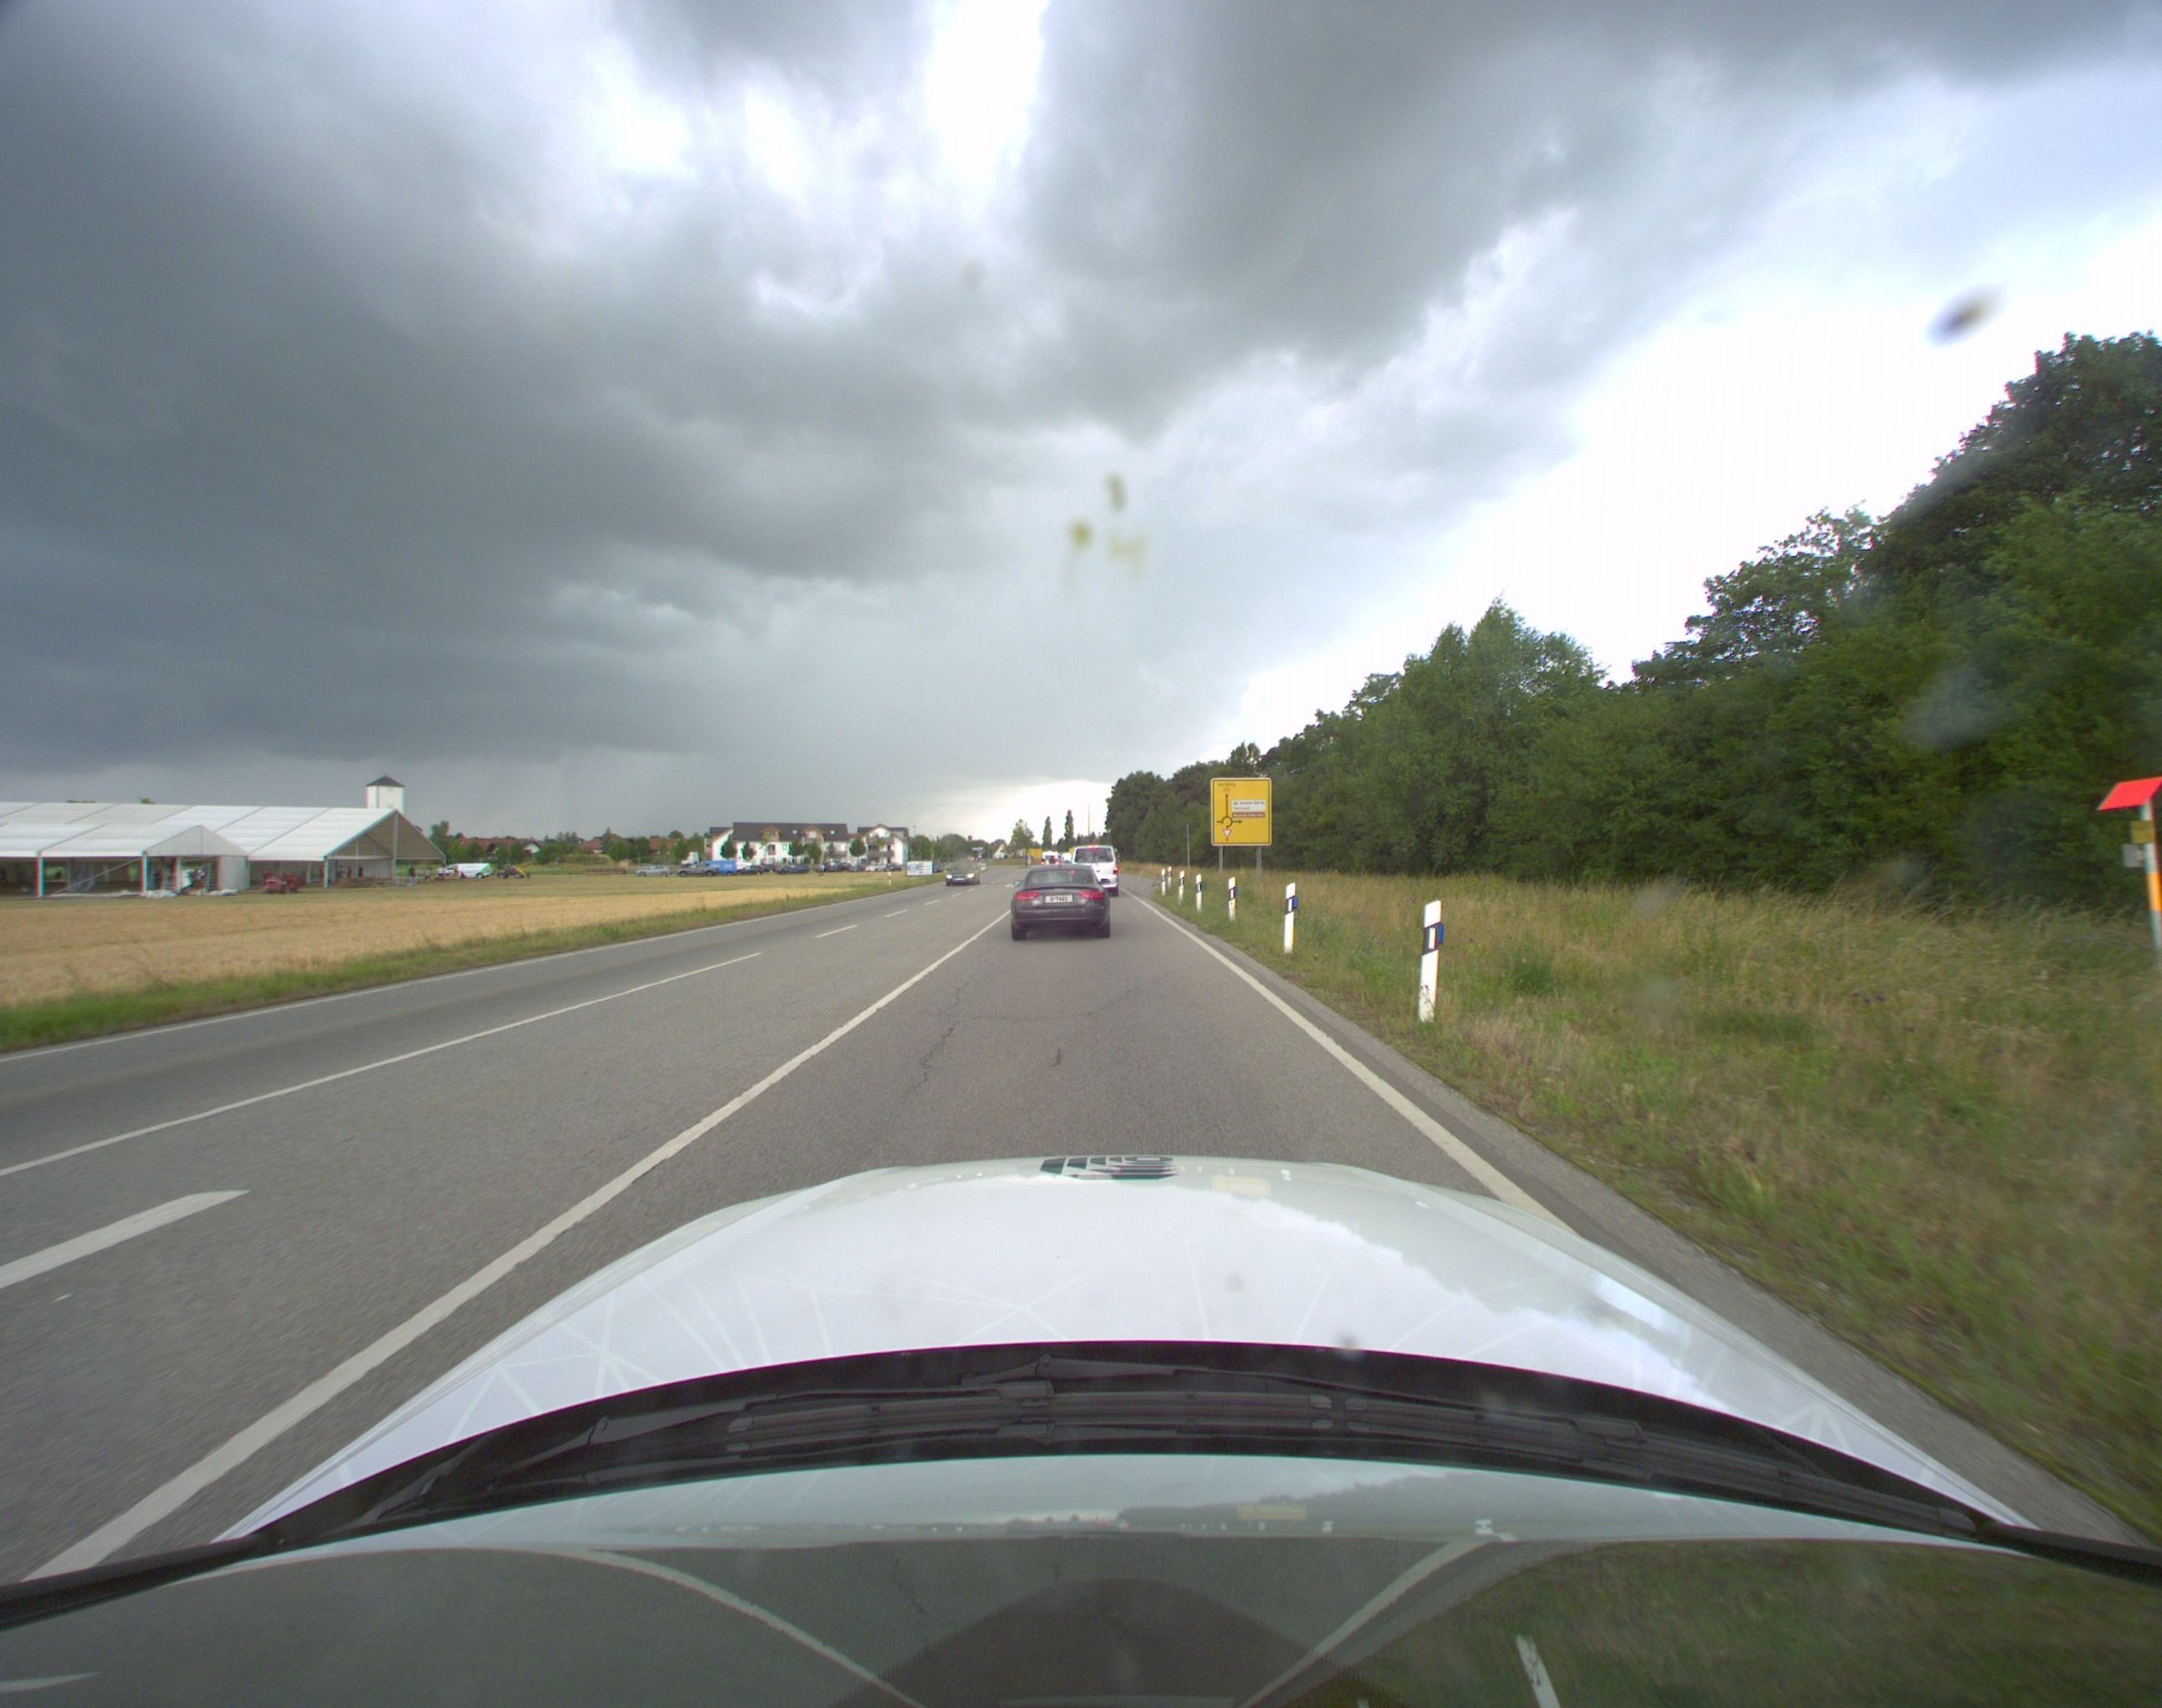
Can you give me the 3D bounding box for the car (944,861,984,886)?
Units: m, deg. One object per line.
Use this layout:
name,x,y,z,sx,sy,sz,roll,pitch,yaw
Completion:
car,-7.287,1.171,51.024,1.821,1.410,4.423,-2,0,0

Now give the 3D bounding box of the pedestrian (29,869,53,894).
pedestrian,-90.081,2.347,70.571,0.863,2.102,0.940,-1,-1,-2

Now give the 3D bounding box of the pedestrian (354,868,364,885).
pedestrian,-76.614,2.368,86.400,0.718,1.744,0.660,-1,-1,34

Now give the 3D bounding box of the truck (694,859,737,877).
truck,-51.610,1.916,115.174,5.473,2.446,2.375,-1,-1,-24

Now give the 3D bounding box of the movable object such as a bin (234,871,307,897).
movable object such as a bin,-62.495,2.272,62.917,2.601,1.864,4.438,-1,-1,-24

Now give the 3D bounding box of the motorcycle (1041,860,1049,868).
motorcycle,-4.896,1.388,110.025,0.943,1.019,2.278,-1,0,-7

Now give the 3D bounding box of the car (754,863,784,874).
car,-51.342,2.450,133.983,4.643,1.697,1.985,-1,-1,-22

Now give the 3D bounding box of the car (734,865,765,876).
car,-48.822,2.444,119.933,4.171,1.519,1.985,-1,-1,-22

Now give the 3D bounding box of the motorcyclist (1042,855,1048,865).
motorcyclist,-4.900,0.851,109.961,0.785,1.356,0.852,-1,-1,-7

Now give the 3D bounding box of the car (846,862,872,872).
car,-35.487,2.101,130.075,1.978,1.536,4.230,-1,0,17

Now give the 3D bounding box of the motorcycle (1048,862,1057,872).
motorcycle,-2.978,1.343,85.237,0.917,1.094,2.187,-1,0,-1

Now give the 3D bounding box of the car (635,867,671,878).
car,-58.984,2.521,112.202,4.319,1.461,1.874,-1,-1,-28

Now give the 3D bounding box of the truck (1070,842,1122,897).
truck,0.511,0.579,32.302,1.899,1.998,4.626,-1,0,-1

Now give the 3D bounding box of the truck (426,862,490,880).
truck,-78.808,2.144,103.133,6.080,2.217,2.695,-1,-1,-29

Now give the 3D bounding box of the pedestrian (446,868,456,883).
pedestrian,-75.139,2.597,97.101,0.690,1.776,0.691,-1,-1,-17

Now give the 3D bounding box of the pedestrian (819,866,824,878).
pedestrian,-35.388,2.450,111.048,0.591,1.555,0.622,-1,-1,-20

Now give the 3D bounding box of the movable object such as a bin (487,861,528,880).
movable object such as a bin,-72.253,2.089,102.593,4.009,2.243,1.868,-1,-1,-29

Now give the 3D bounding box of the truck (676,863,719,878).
truck,-52.259,2.227,111.069,5.256,1.921,2.093,-1,-1,-28

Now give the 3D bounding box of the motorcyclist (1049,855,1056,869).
motorcyclist,-2.967,0.818,85.073,0.770,1.383,0.819,-1,-1,-2

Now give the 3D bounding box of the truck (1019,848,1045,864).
truck,-11.301,0.479,187.040,3.588,3.578,9.891,0,0,-19

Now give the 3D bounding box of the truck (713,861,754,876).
truck,-52.441,2.185,122.787,5.591,2.196,2.586,-1,-1,-24

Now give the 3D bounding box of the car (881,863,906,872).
car,-29.824,2.149,129.437,1.978,1.446,4.230,-1,0,17

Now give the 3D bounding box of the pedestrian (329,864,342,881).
pedestrian,-77.156,1.904,84.282,0.750,1.779,0.736,-1,-1,31

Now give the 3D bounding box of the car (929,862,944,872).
car,-20.812,1.855,117.400,1.995,1.442,3.984,-1,0,-12

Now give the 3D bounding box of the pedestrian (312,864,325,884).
pedestrian,-76.707,2.035,81.935,0.882,2.014,0.759,0,-1,-41

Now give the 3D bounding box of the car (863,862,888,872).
car,-32.722,2.117,129.748,1.978,1.446,4.230,-1,0,17

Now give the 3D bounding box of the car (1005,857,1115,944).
car,-0.413,0.807,16.166,1.870,1.454,4.174,-1,0,-2

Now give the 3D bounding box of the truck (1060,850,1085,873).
truck,-0.761,0.689,74.258,2.187,2.014,5.082,-1,-1,-1

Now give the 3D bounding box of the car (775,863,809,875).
car,-43.426,2.188,122.246,4.734,1.697,1.985,-1,-1,-22

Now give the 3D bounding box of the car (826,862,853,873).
car,-38.647,2.170,130.431,1.978,1.629,4.230,-1,0,17

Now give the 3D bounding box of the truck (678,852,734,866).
truck,-73.360,0.917,159.420,9.326,2.530,3.295,-1,0,-4

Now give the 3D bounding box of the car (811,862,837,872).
car,-41.805,2.107,132.623,1.978,1.629,4.230,-1,0,17

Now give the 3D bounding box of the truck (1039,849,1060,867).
truck,-4.863,0.622,125.350,2.625,2.737,5.851,0,-1,-8
